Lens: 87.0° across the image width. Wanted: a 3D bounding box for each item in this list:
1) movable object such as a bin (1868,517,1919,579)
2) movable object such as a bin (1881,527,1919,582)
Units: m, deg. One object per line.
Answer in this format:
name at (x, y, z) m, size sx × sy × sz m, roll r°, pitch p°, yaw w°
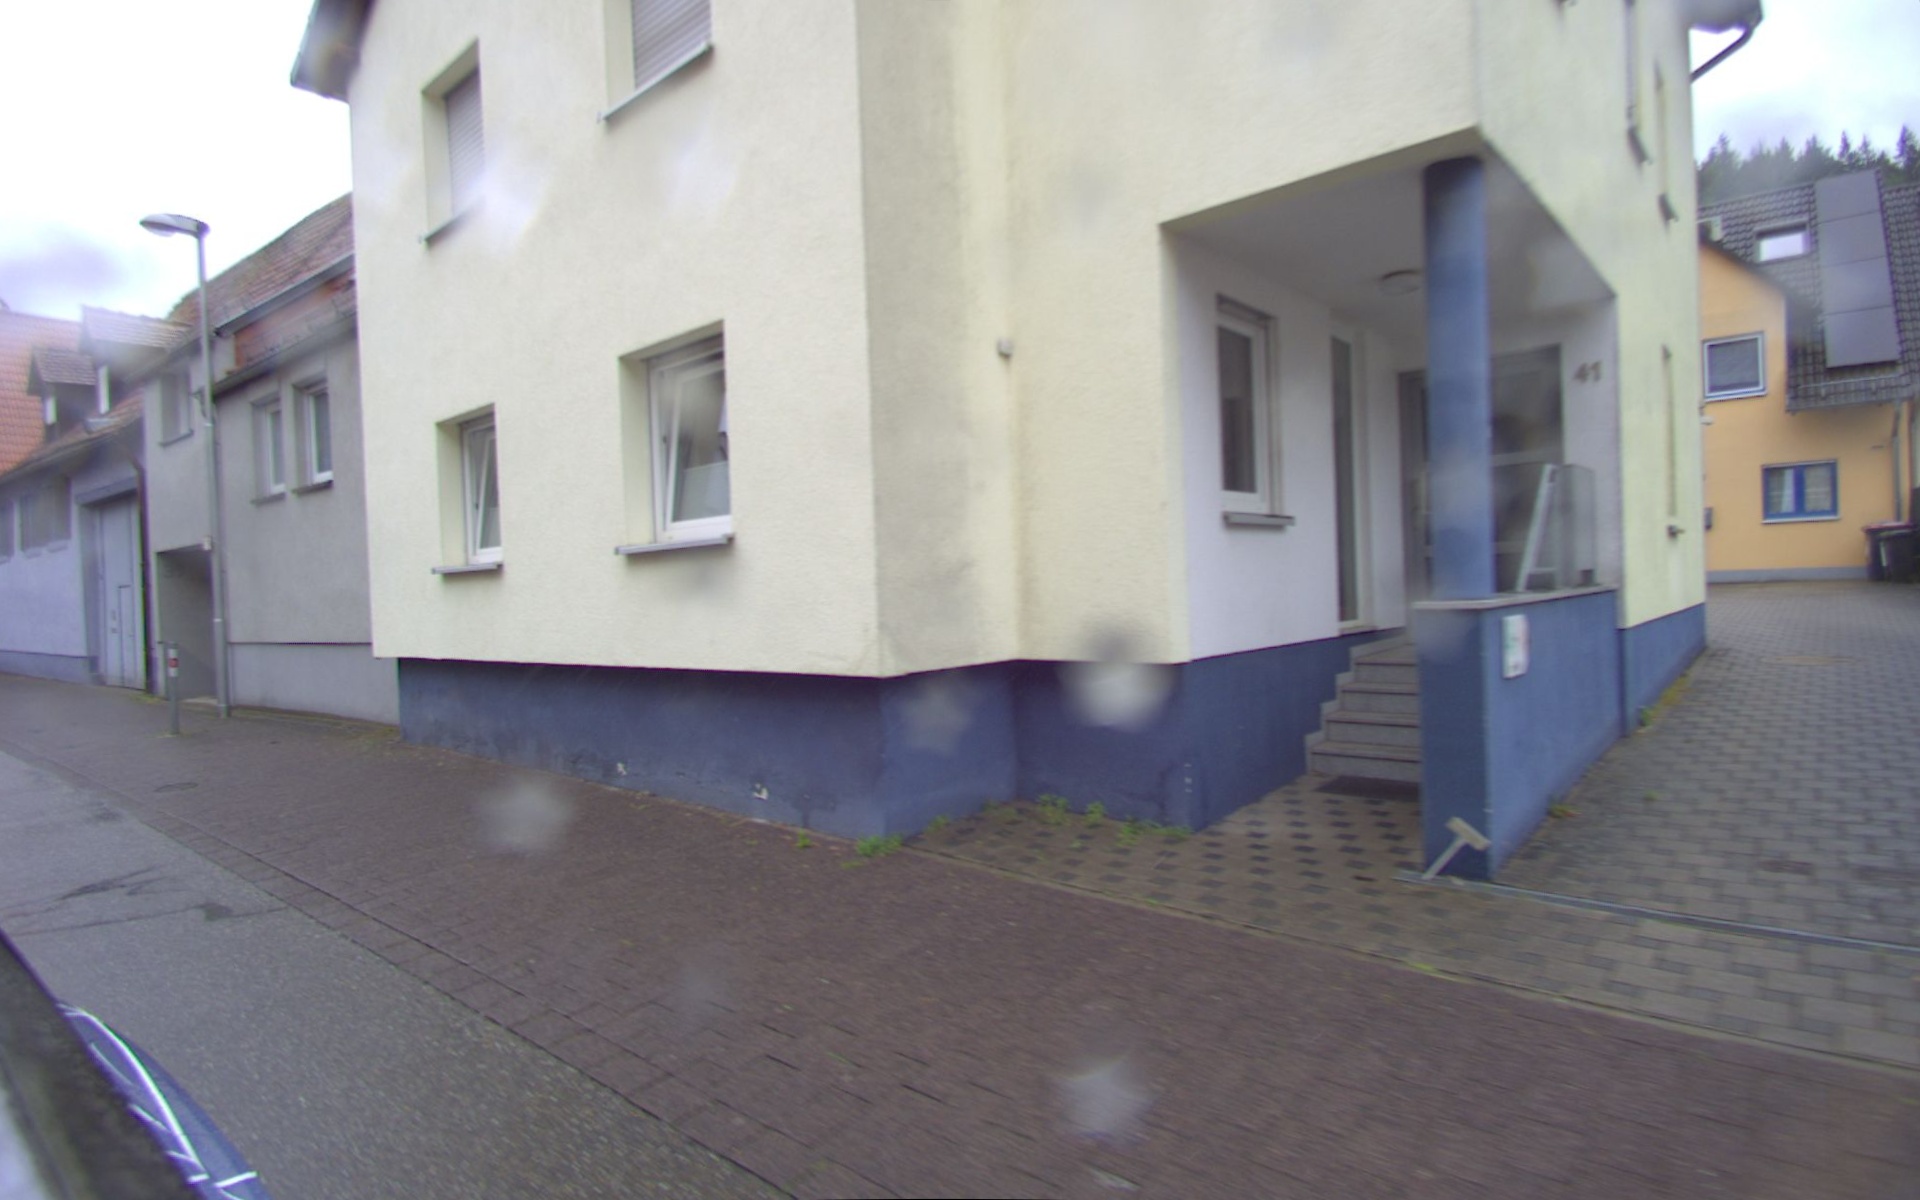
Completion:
movable object such as a bin at (17.113, -0.941, 18.481) m, size 0.756 × 1.080 × 0.604 m, roll -2°, pitch 0°, yaw 41°
movable object such as a bin at (16.683, -0.793, 17.795) m, size 0.689 × 0.939 × 0.605 m, roll -2°, pitch 0°, yaw 41°
